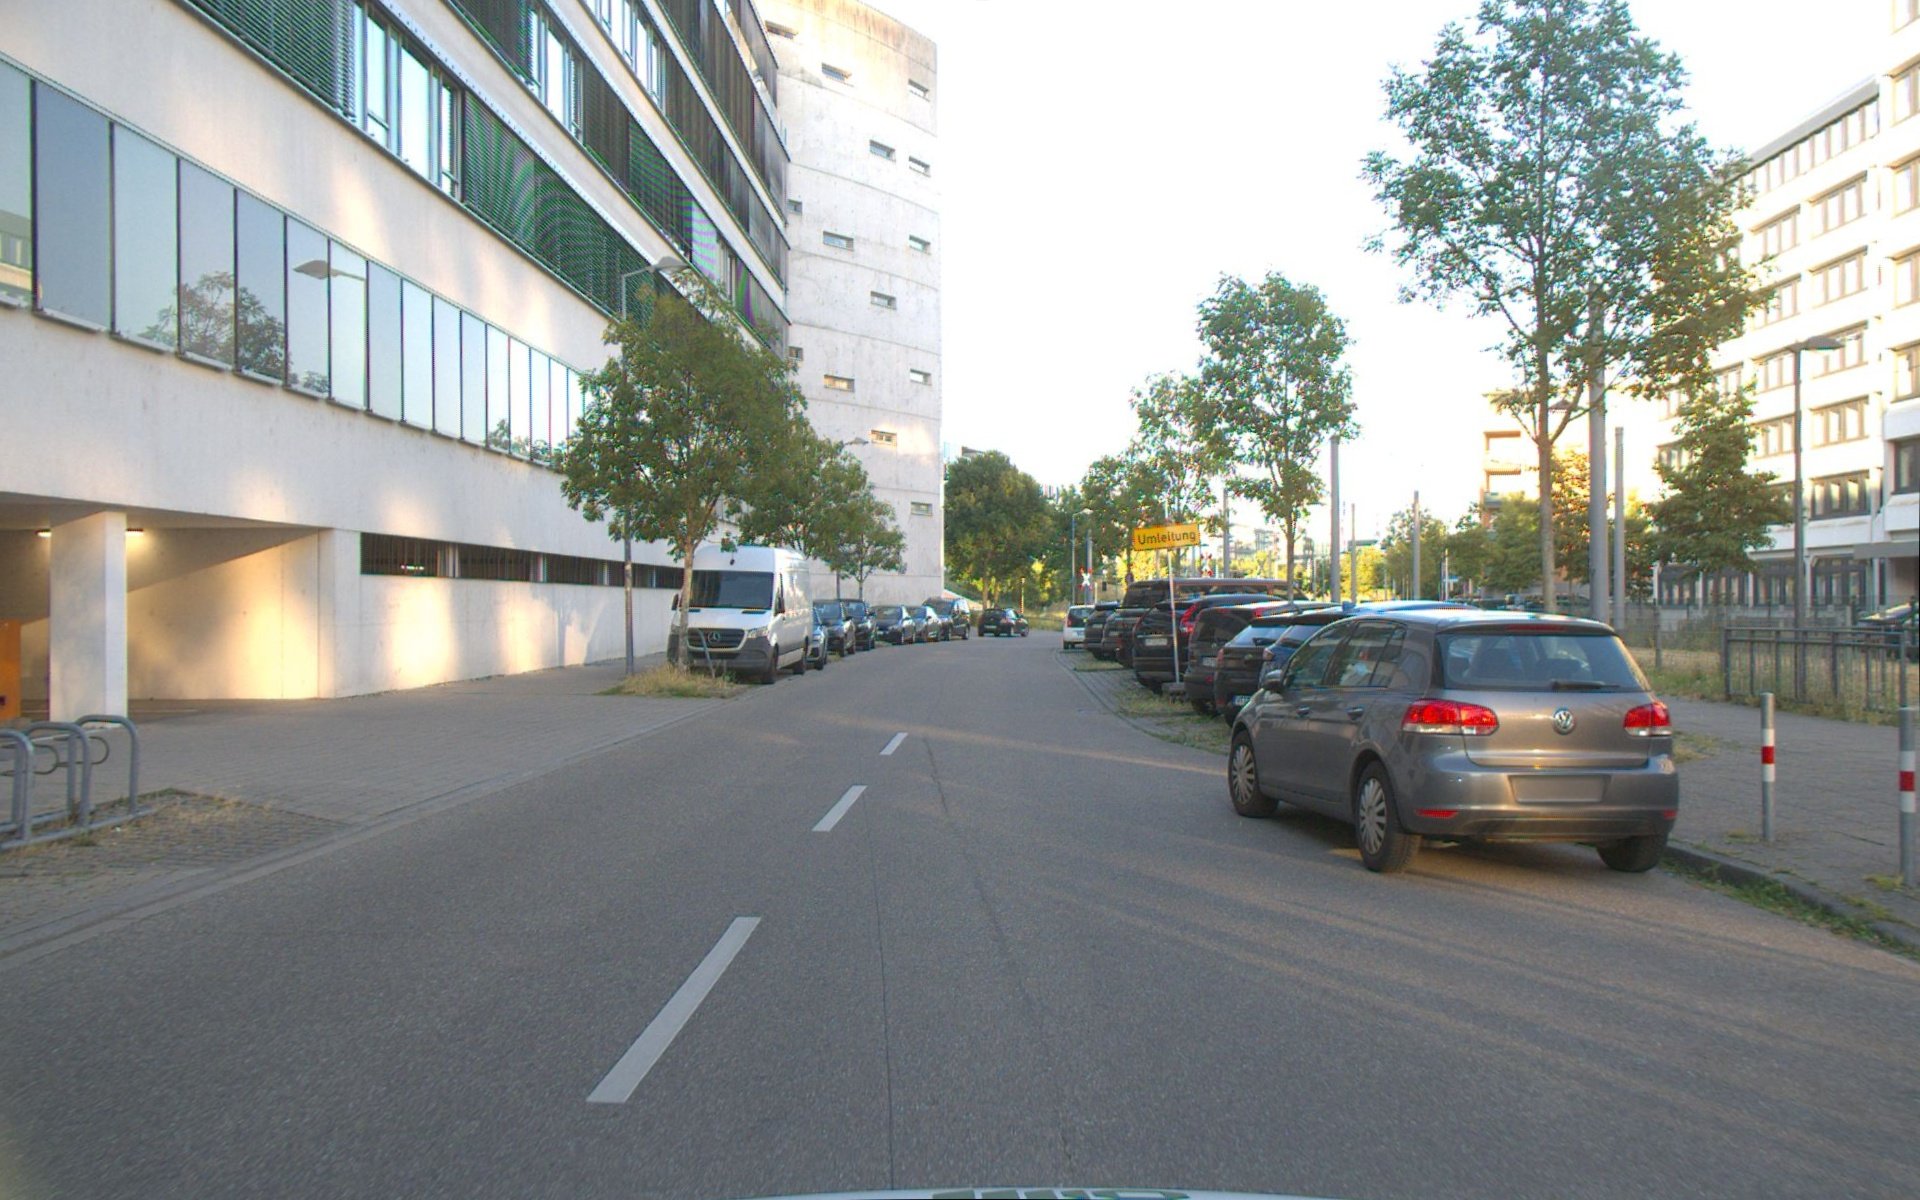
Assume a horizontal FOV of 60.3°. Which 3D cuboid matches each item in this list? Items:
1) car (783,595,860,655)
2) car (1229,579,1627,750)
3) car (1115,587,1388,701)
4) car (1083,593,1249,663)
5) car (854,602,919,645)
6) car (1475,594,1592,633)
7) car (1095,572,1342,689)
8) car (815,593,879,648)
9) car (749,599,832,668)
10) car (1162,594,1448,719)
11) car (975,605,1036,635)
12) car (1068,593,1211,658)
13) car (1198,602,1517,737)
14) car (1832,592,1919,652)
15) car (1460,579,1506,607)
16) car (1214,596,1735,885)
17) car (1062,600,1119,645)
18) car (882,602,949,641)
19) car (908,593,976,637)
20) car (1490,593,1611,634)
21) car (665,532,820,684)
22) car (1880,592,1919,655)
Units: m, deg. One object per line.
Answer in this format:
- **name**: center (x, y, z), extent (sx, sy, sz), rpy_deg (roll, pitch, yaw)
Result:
- **car**: center (-3.957, 0.693, 47.908), extent (1.719, 1.588, 4.044), rpy_deg (2, 0, 2)
- **car**: center (4.911, 0.606, 17.221), extent (3.952, 1.547, 1.905), rpy_deg (-1, -1, -34)
- **car**: center (5.024, 0.727, 28.280), extent (4.545, 1.779, 1.851), rpy_deg (1, 0, -33)
- **car**: center (5.471, 0.731, 43.886), extent (3.926, 1.668, 1.956), rpy_deg (-2, 0, -27)
- **car**: center (-2.725, 0.850, 62.521), extent (1.686, 1.483, 4.275), rpy_deg (2, 0, 8)
- **car**: center (24.524, 0.561, 70.796), extent (4.403, 1.630, 1.694), rpy_deg (0, 0, 1)
- **car**: center (4.935, 0.558, 31.369), extent (4.545, 2.071, 1.851), rpy_deg (1, 0, -33)
- **car**: center (-3.654, 0.632, 54.143), extent (1.720, 1.682, 3.949), rpy_deg (2, 0, 1)
- **car**: center (-3.952, 0.750, 39.040), extent (1.721, 1.465, 3.899), rpy_deg (2, 0, -3)
- **car**: center (4.904, 0.791, 23.353), extent (3.953, 1.623, 1.716), rpy_deg (2, -1, -35)
- **car**: center (2.333, 0.976, 83.162), extent (1.903, 1.407, 4.401), rpy_deg (2, 1, 17)
- **car**: center (5.057, 0.718, 46.581), extent (3.729, 1.756, 1.745), rpy_deg (1, 0, -32)
- **car**: center (4.937, 0.783, 20.349), extent (3.957, 1.490, 1.714), rpy_deg (0, 0, -37)
- **car**: center (24.012, 0.577, 40.997), extent (3.905, 1.422, 1.592), rpy_deg (2, 0, 0)
- **car**: center (50.397, -0.679, 159.445), extent (4.069, 2.629, 1.702), rpy_deg (0, 0, 23)
- **car**: center (3.048, 0.766, 10.733), extent (1.698, 1.491, 3.993), rpy_deg (2, -1, -8)
- **car**: center (4.623, 0.771, 58.030), extent (1.685, 1.493, 3.556), rpy_deg (-1, 0, 9)
- **car**: center (-1.796, 0.844, 67.974), extent (1.686, 1.483, 4.698), rpy_deg (2, 1, 12)
- **car**: center (-0.762, 0.654, 73.114), extent (1.720, 1.830, 4.466), rpy_deg (2, 0, 16)
- **car**: center (24.374, 0.560, 68.348), extent (4.403, 1.630, 1.694), rpy_deg (0, 0, 1)
- **car**: center (-4.191, 0.108, 33.052), extent (1.918, 2.662, 6.894), rpy_deg (2, 0, 2)
- **car**: center (23.906, 0.608, 38.634), extent (3.905, 1.422, 1.592), rpy_deg (2, 0, 0)
